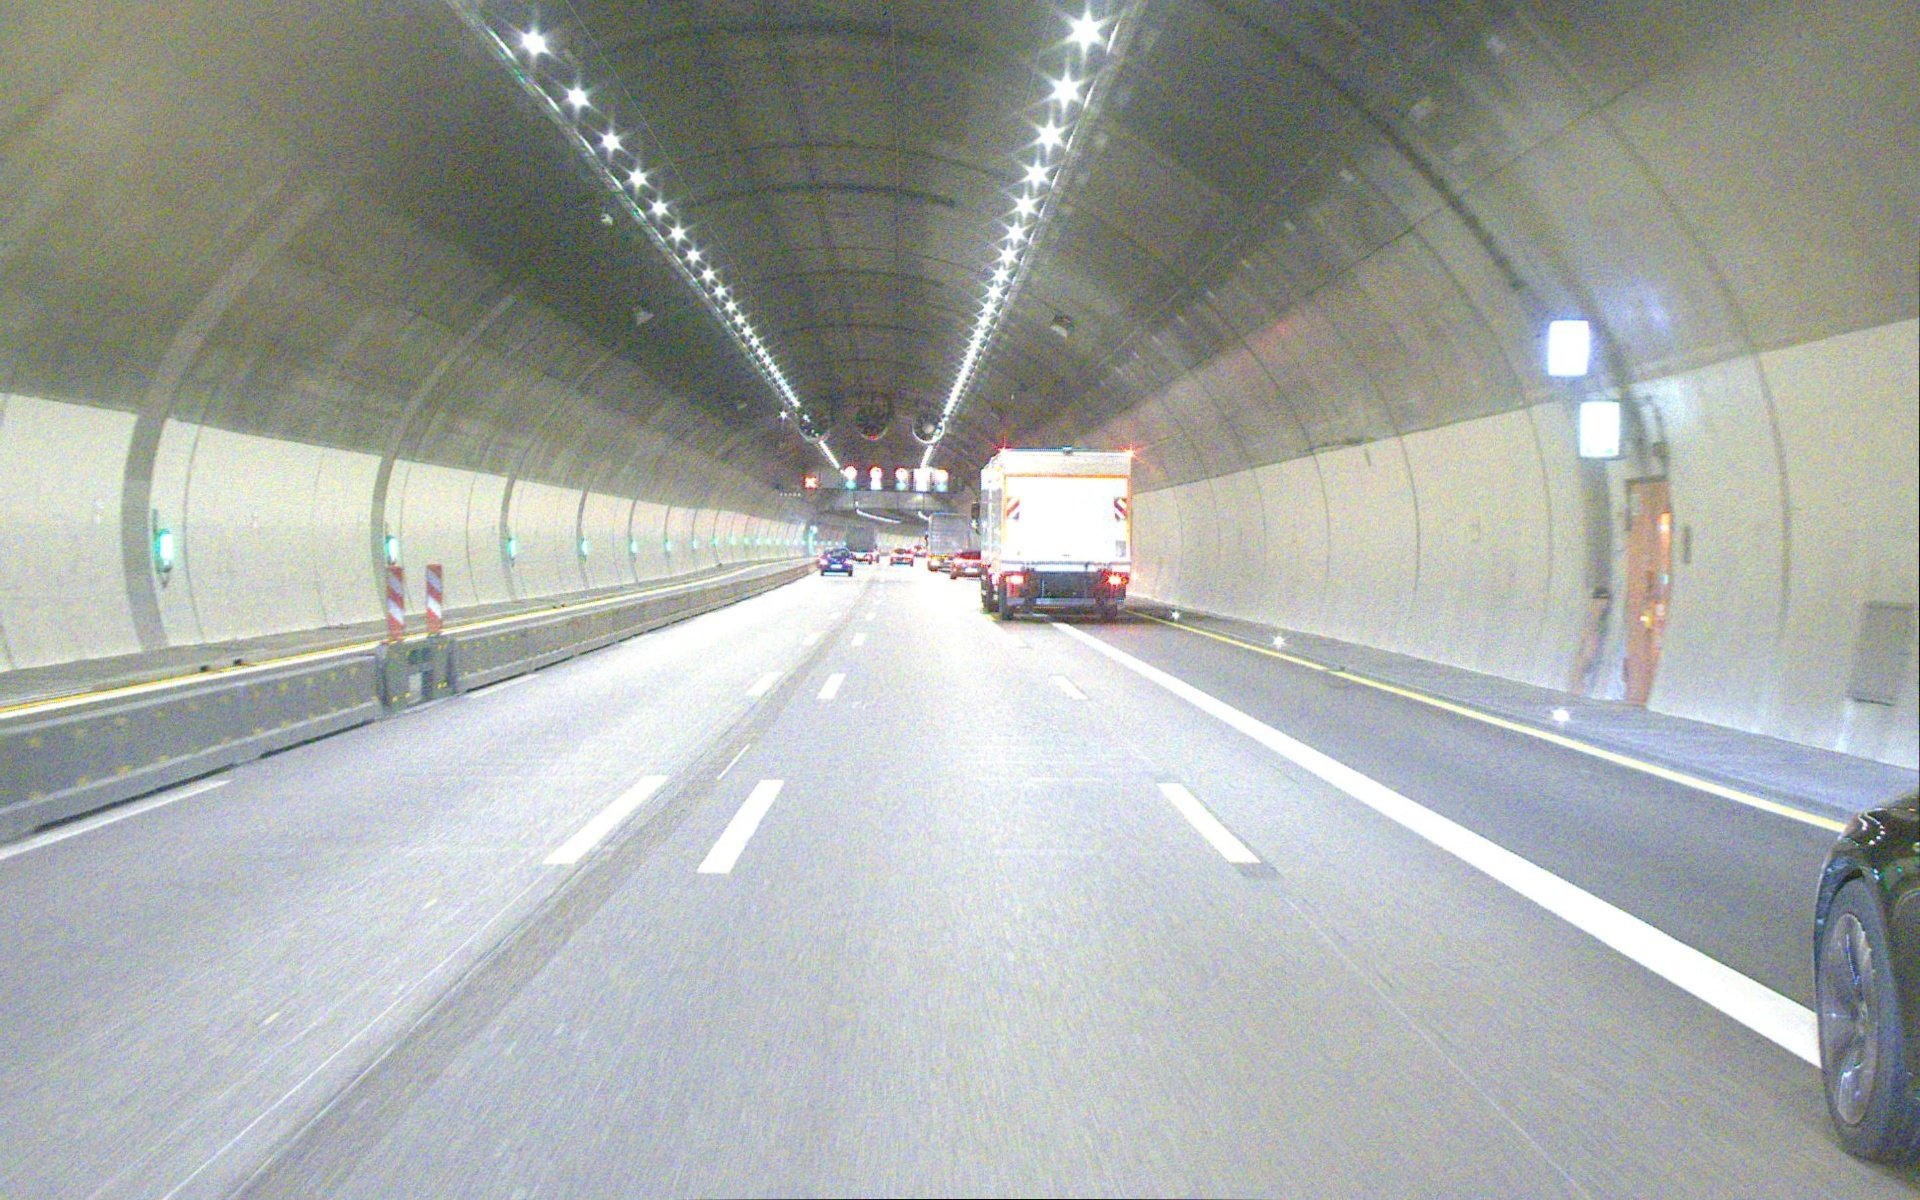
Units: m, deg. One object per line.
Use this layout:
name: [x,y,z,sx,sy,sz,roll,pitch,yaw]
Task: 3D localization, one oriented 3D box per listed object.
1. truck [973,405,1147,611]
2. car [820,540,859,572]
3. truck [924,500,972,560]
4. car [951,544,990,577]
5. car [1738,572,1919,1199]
truck: [1.953,-1.790,71.549,3.092,3.904,10.368,1,0,-1]
car: [-5.838,-2.128,166.672,1.758,1.456,4.119,1,2,-1]
truck: [-0.790,-4.829,237.908,3.066,3.904,10.368,1,0,1]
car: [0.504,-1.851,160.081,1.739,1.456,3.960,1,2,1]
car: [3.089,0.707,6.736,1.925,1.467,4.955,1,1,-1]
